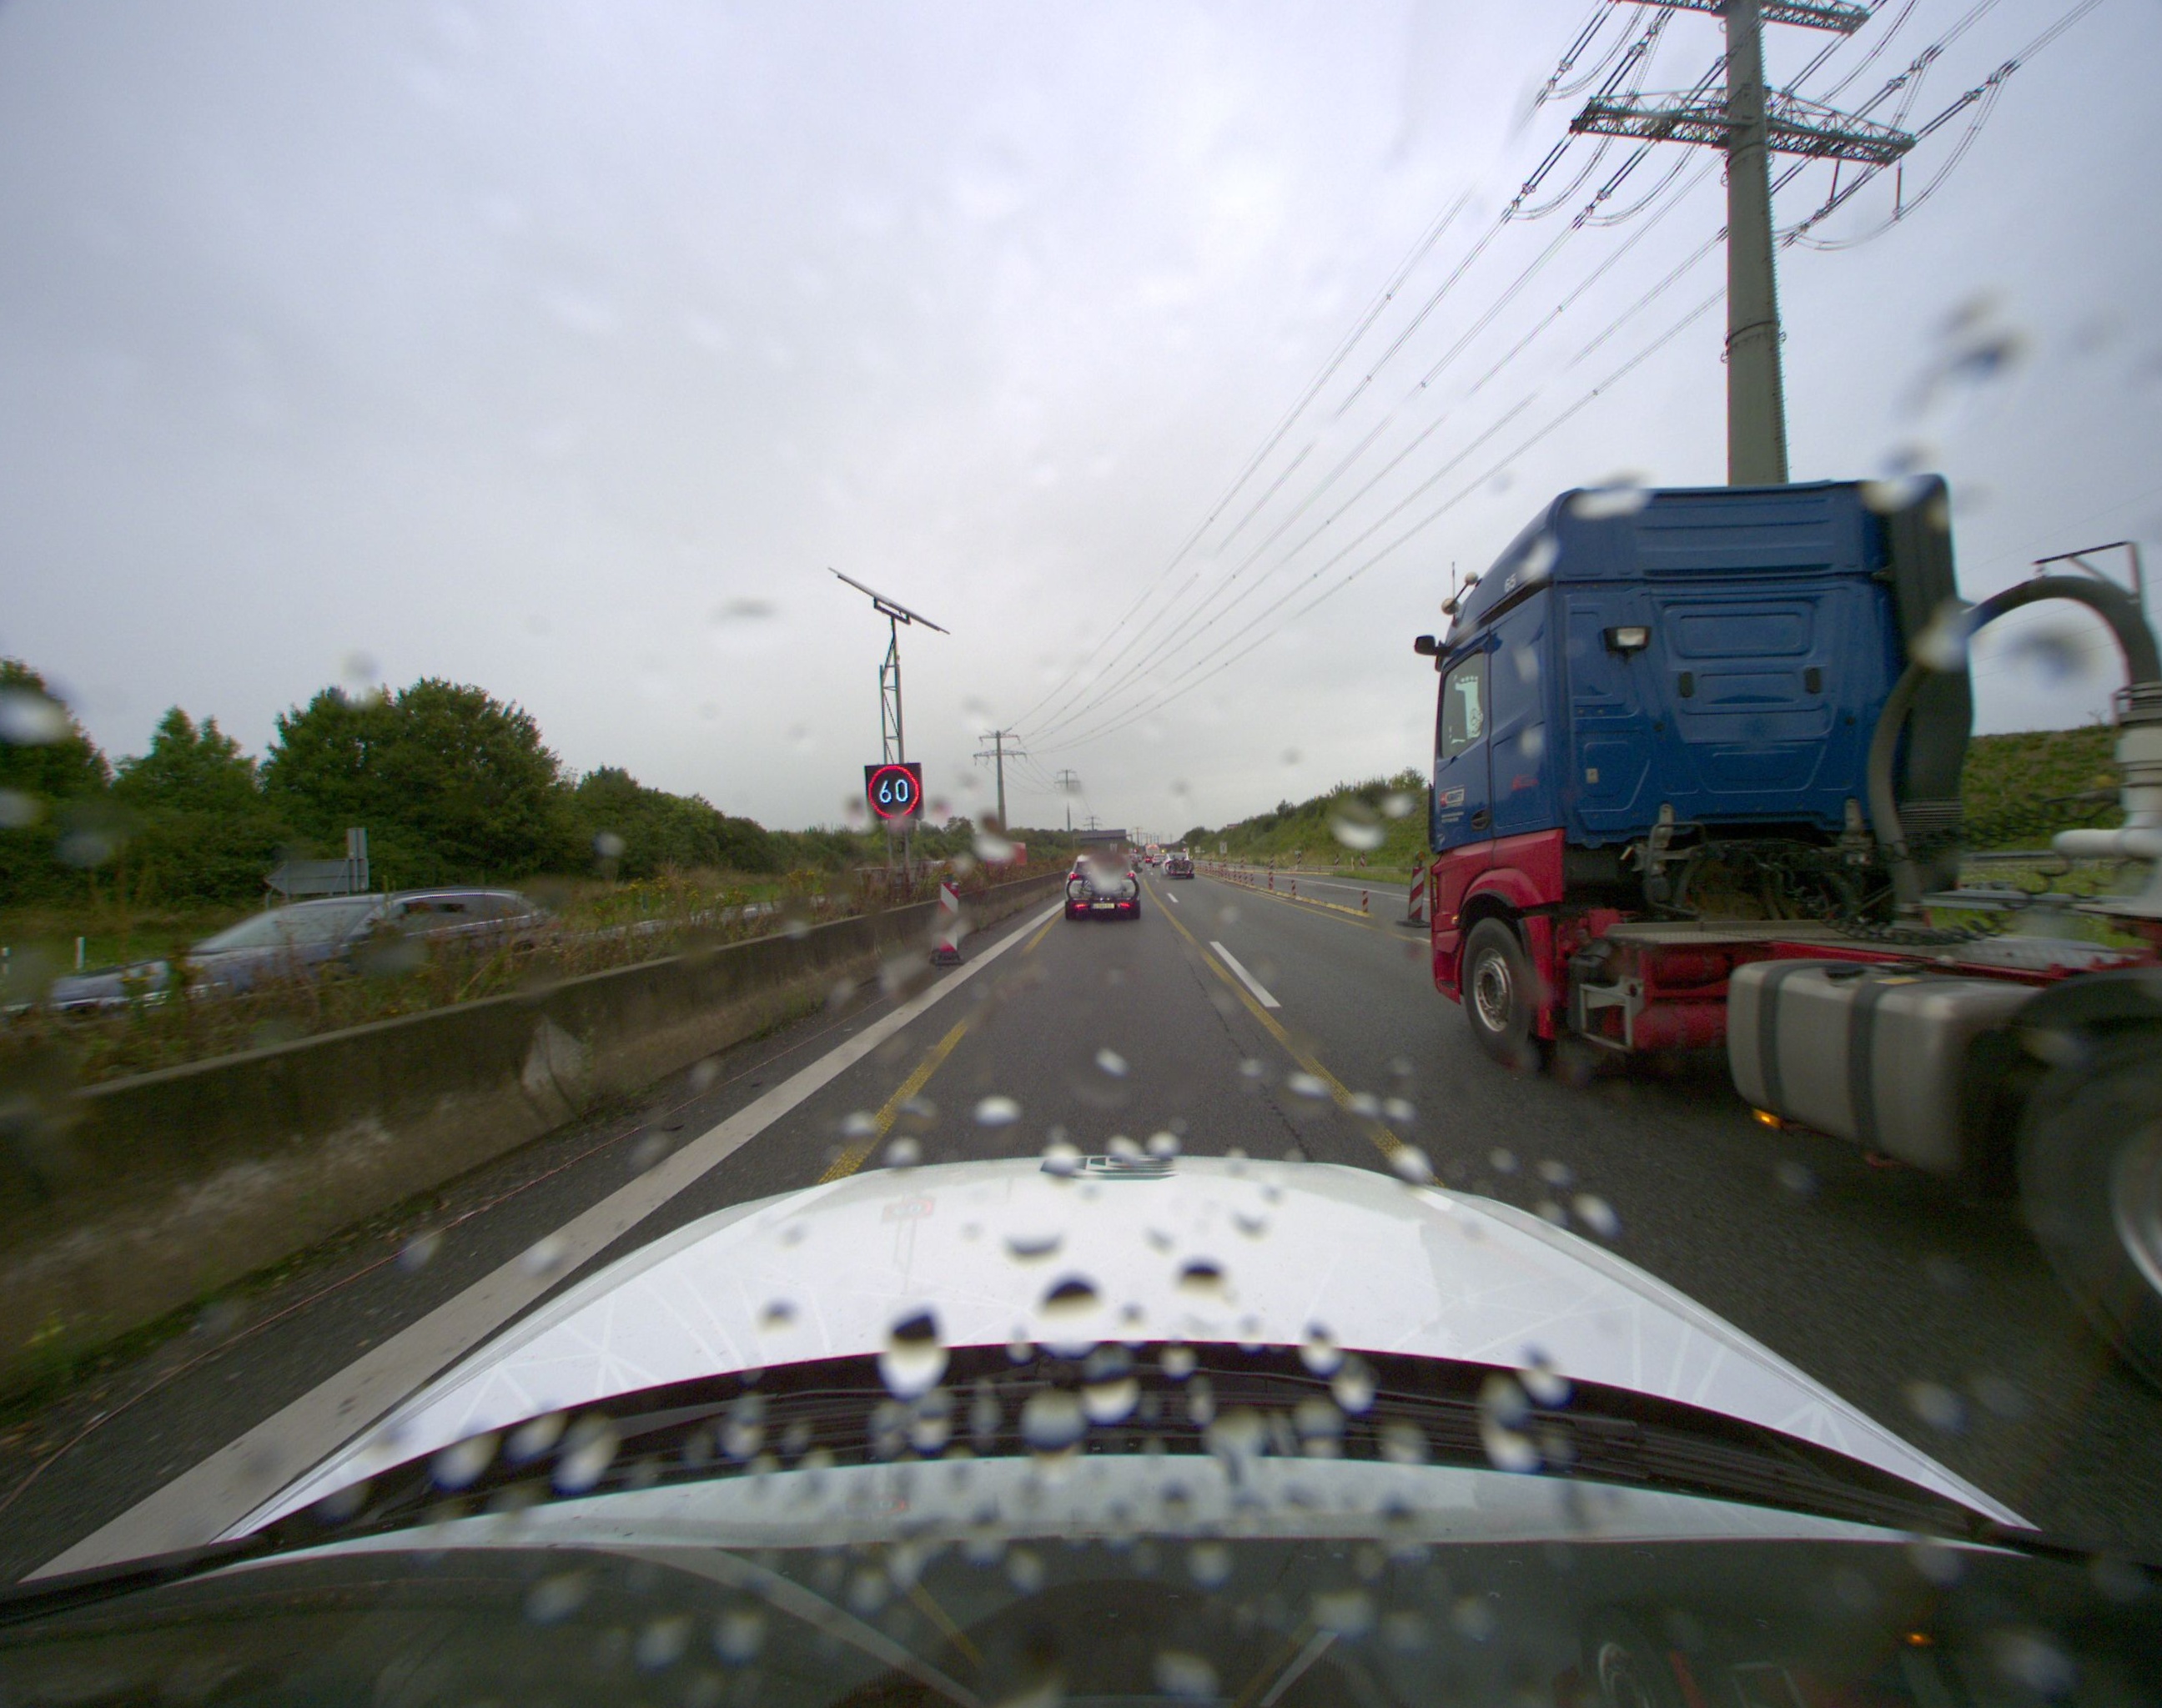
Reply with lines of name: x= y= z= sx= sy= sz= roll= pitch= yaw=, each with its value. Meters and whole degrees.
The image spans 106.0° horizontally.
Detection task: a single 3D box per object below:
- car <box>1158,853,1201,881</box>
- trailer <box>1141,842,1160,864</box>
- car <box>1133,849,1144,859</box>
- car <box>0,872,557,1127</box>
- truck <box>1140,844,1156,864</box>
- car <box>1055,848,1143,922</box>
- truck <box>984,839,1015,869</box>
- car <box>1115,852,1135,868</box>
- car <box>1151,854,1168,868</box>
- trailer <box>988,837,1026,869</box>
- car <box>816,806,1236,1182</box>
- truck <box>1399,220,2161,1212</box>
car: x=6.036 y=0.784 z=50.501 sx=2.039 sy=1.596 sz=5.801 roll=-1 pitch=0 yaw=1
trailer: x=12.691 y=-0.072 z=148.541 sx=2.629 sy=3.893 sz=10.543 roll=-1 pitch=-1 yaw=1
car: x=12.612 y=-0.013 z=178.824 sx=1.987 sy=2.014 sz=4.000 roll=-1 pitch=-1 yaw=1
car: x=-8.227 y=1.212 z=8.807 sx=1.986 sy=1.959 sz=4.673 roll=-1 pitch=-1 yaw=1
truck: x=12.749 y=0.027 z=155.047 sx=2.636 sy=3.891 sz=4.030 roll=-1 pitch=-1 yaw=0
car: x=0.514 y=0.694 z=20.364 sx=1.920 sy=1.611 sz=4.598 roll=-1 pitch=0 yaw=3
truck: x=-9.782 y=0.060 z=98.524 sx=3.012 sy=3.531 sz=4.929 roll=-1 pitch=-1 yaw=2
car: x=4.671 y=0.653 z=86.791 sx=1.987 sy=1.584 sz=4.000 roll=-1 pitch=0 yaw=0
car: x=9.310 y=0.832 z=96.977 sx=1.862 sy=1.535 sz=4.201 roll=-2 pitch=0 yaw=4
trailer: x=-9.444 y=-0.012 z=105.828 sx=3.025 sy=3.814 sz=13.986 roll=-1 pitch=-1 yaw=3
car: x=-0.198 y=0.688 z=6.004 sx=1.986 sy=1.760 sz=4.002 roll=-3 pitch=0 yaw=2
truck: x=4.043 y=-0.539 z=5.239 sx=2.537 sy=3.947 sz=4.002 roll=-1 pitch=-1 yaw=2
